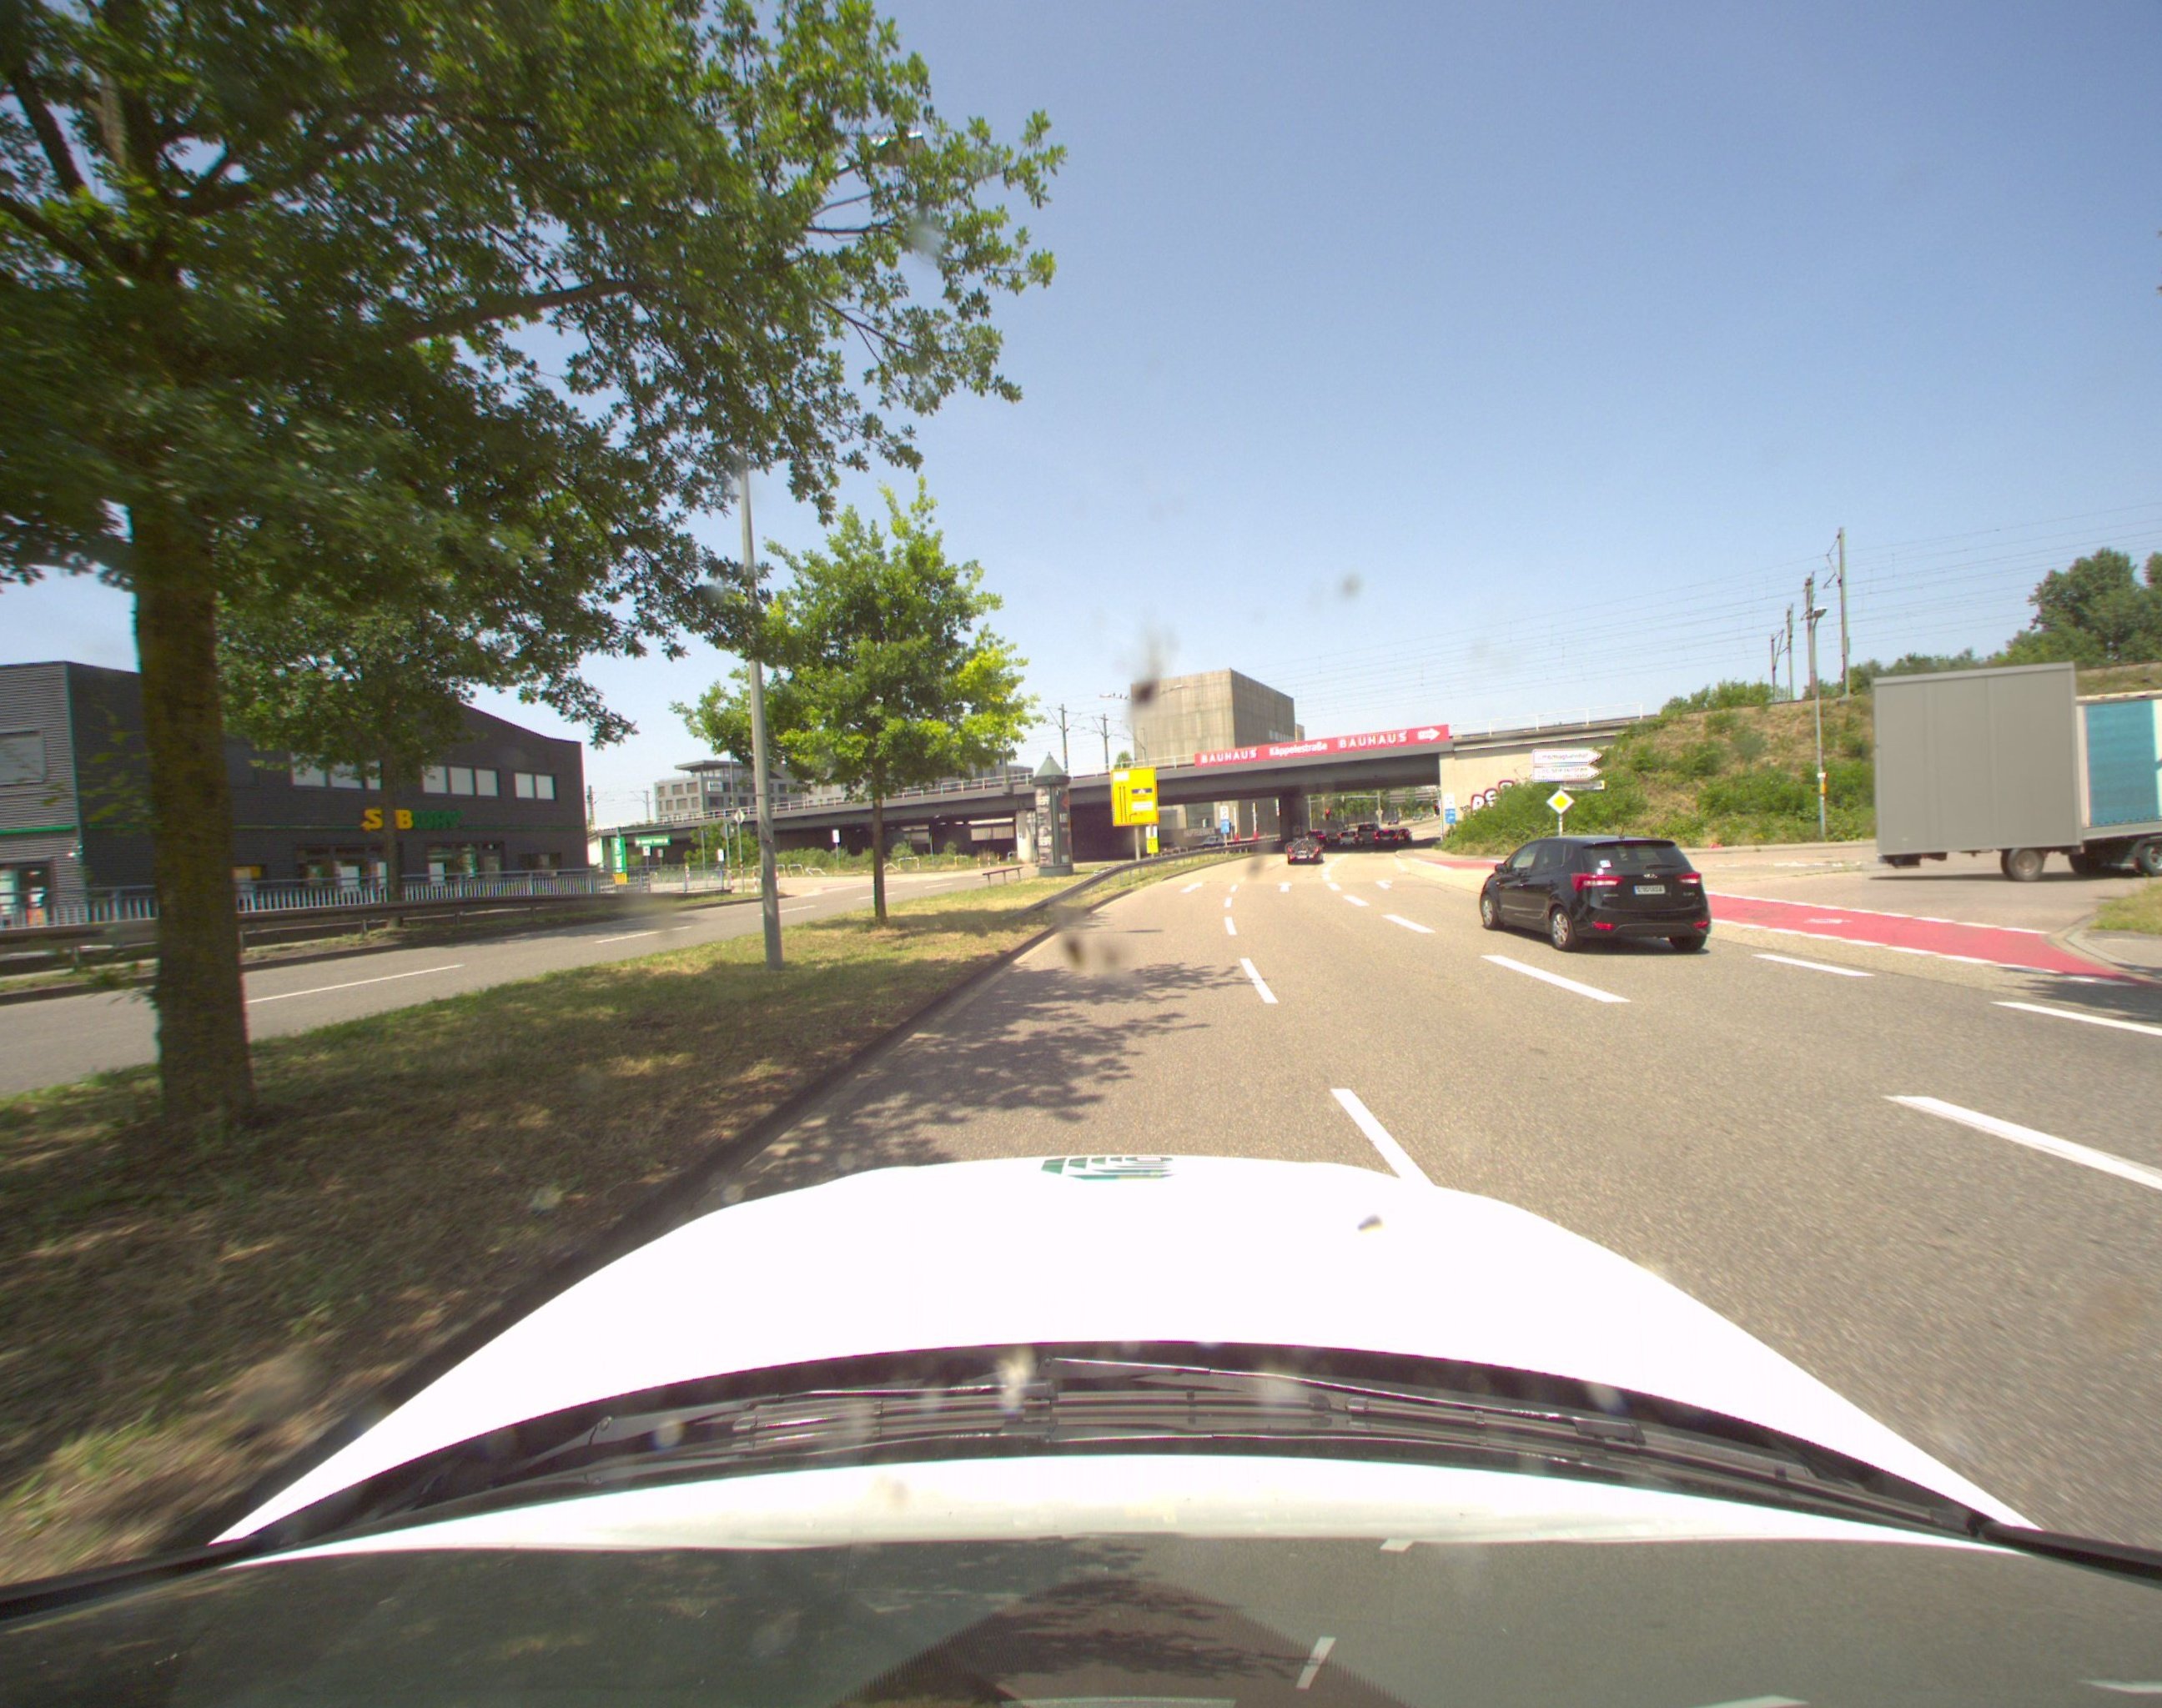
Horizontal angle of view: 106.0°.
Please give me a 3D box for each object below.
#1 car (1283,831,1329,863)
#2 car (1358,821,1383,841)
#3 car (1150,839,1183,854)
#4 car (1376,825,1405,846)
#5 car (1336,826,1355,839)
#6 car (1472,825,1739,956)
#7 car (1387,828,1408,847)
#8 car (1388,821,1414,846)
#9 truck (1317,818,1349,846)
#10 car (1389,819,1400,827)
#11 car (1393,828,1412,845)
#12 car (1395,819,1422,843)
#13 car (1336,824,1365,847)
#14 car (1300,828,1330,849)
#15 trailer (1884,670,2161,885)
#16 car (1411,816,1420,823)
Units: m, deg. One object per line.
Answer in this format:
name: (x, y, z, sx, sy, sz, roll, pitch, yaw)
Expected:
car: (12.442, -0.408, 44.907, 1.940, 1.633, 4.303, -2, 1, 21)
car: (28.558, -2.266, 80.309, 1.823, 1.890, 4.024, -2, 0, 25)
car: (8.126, -0.735, 77.211, 1.638, 1.379, 4.243, -2, 0, 27)
car: (25.019, -1.466, 65.818, 1.823, 1.568, 4.024, -2, 0, 25)
car: (43.408, -3.557, 133.517, 1.974, 2.013, 4.025, -5, -1, 30)
car: (7.533, 0.422, 12.240, 1.757, 1.599, 4.086, -2, 1, 7)
car: (34.151, -1.771, 87.854, 1.823, 1.890, 4.024, -2, 0, 25)
car: (28.235, -1.844, 71.758, 1.717, 2.013, 3.820, -5, -1, 25)
truck: (24.738, -2.195, 79.822, 2.048, 2.538, 4.025, -4, 0, 29)
car: (66.787, -6.635, 173.511, 1.837, 1.622, 4.023, -2, 0, 25)
car: (41.562, -2.272, 105.085, 1.975, 2.013, 4.024, -2, 0, 25)
car: (30.344, -2.153, 75.458, 1.975, 2.013, 4.023, -5, -1, 24)
car: (23.701, -1.608, 71.437, 1.823, 1.890, 4.024, -2, 0, 26)
car: (21.108, -1.400, 73.425, 1.922, 1.721, 4.024, -2, 0, 26)
trailer: (27.200, -2.033, 19.326, 14.709, 4.367, 3.082, -3, 2, -7)
car: (87.254, -9.108, 212.403, 1.837, 1.622, 4.023, -2, 0, 24)
